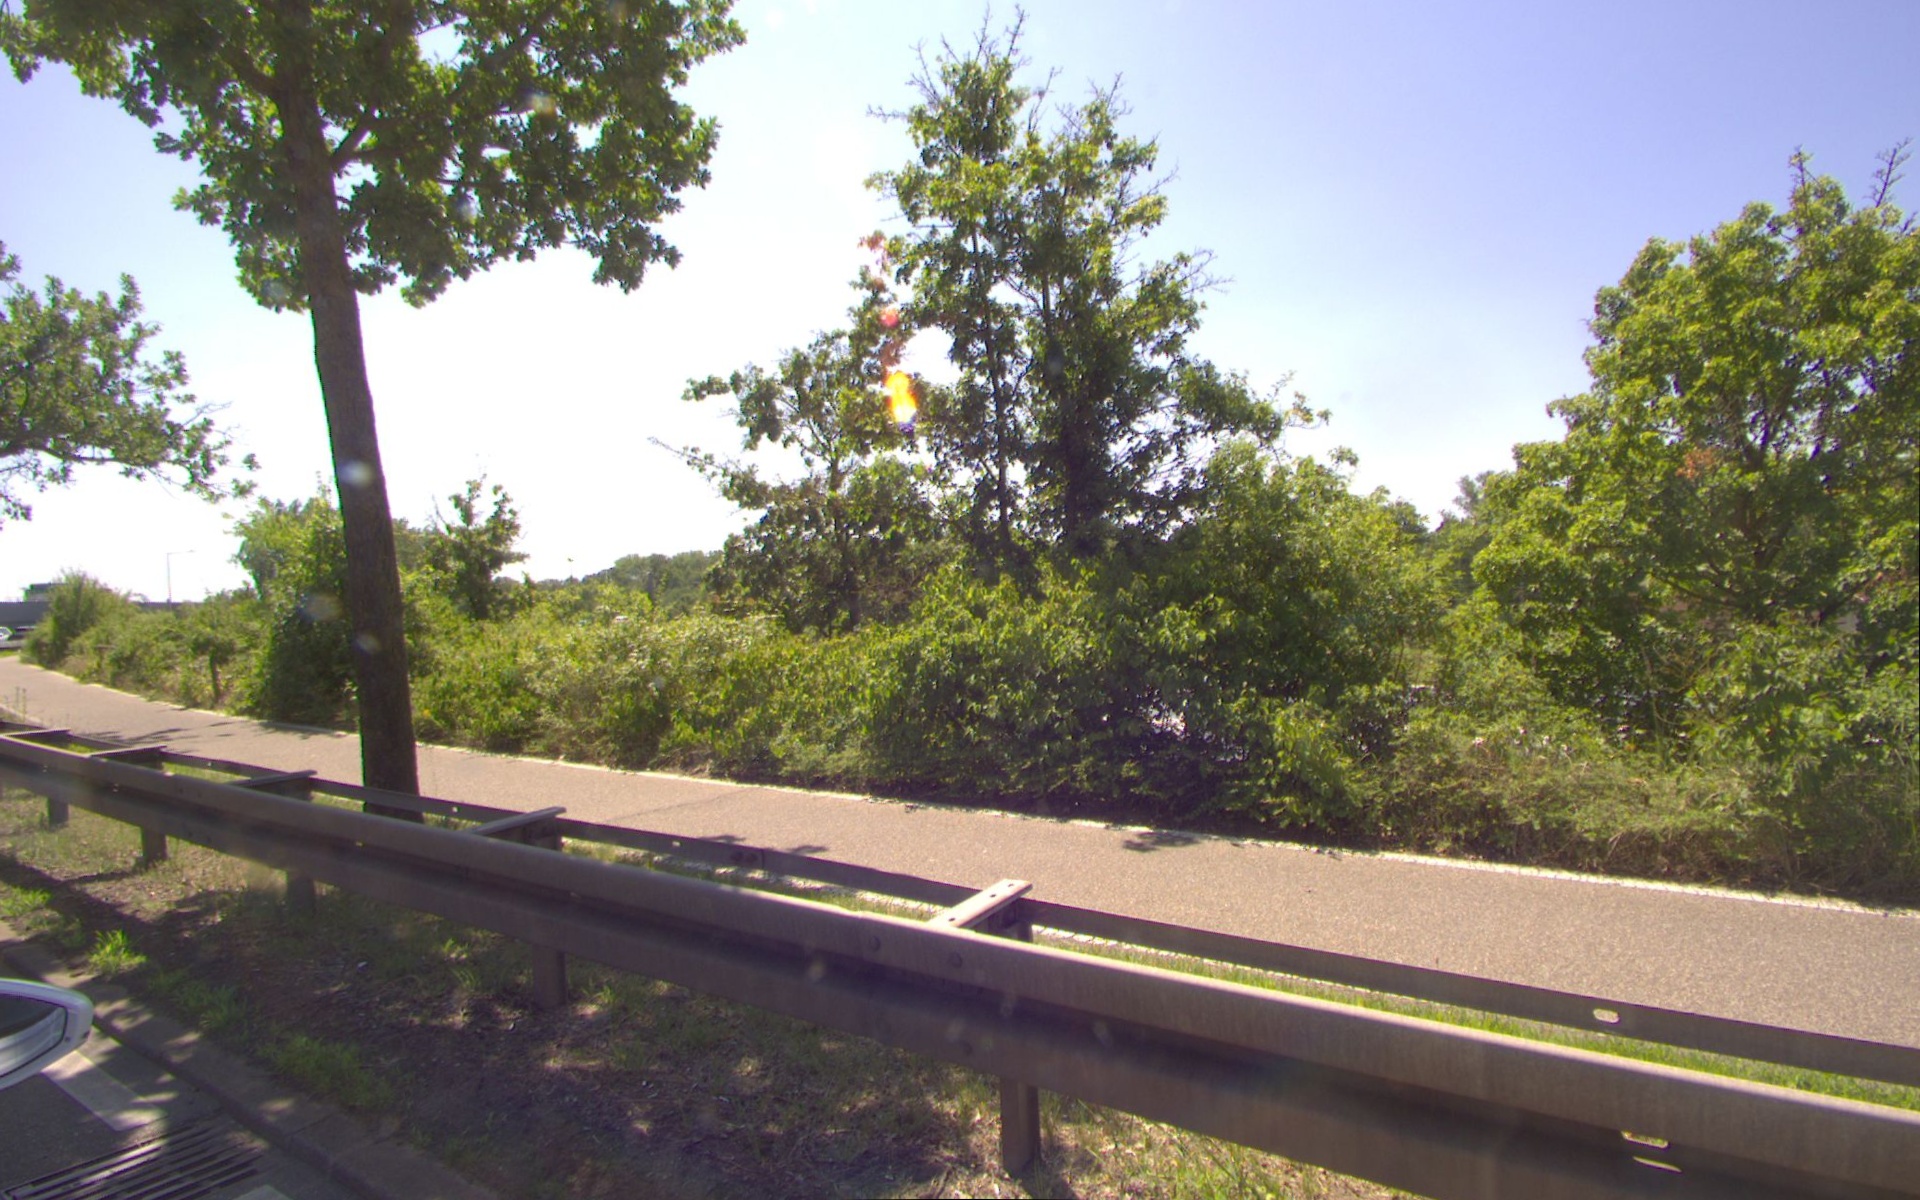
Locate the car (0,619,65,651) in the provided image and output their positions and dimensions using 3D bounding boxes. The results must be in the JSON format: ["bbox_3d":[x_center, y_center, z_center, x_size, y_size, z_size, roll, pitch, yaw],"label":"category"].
[{"bbox_3d":[-52.508,1.975,56.628,1.973,1.739,4.841,1,-2,-32],"label":"car"}]
